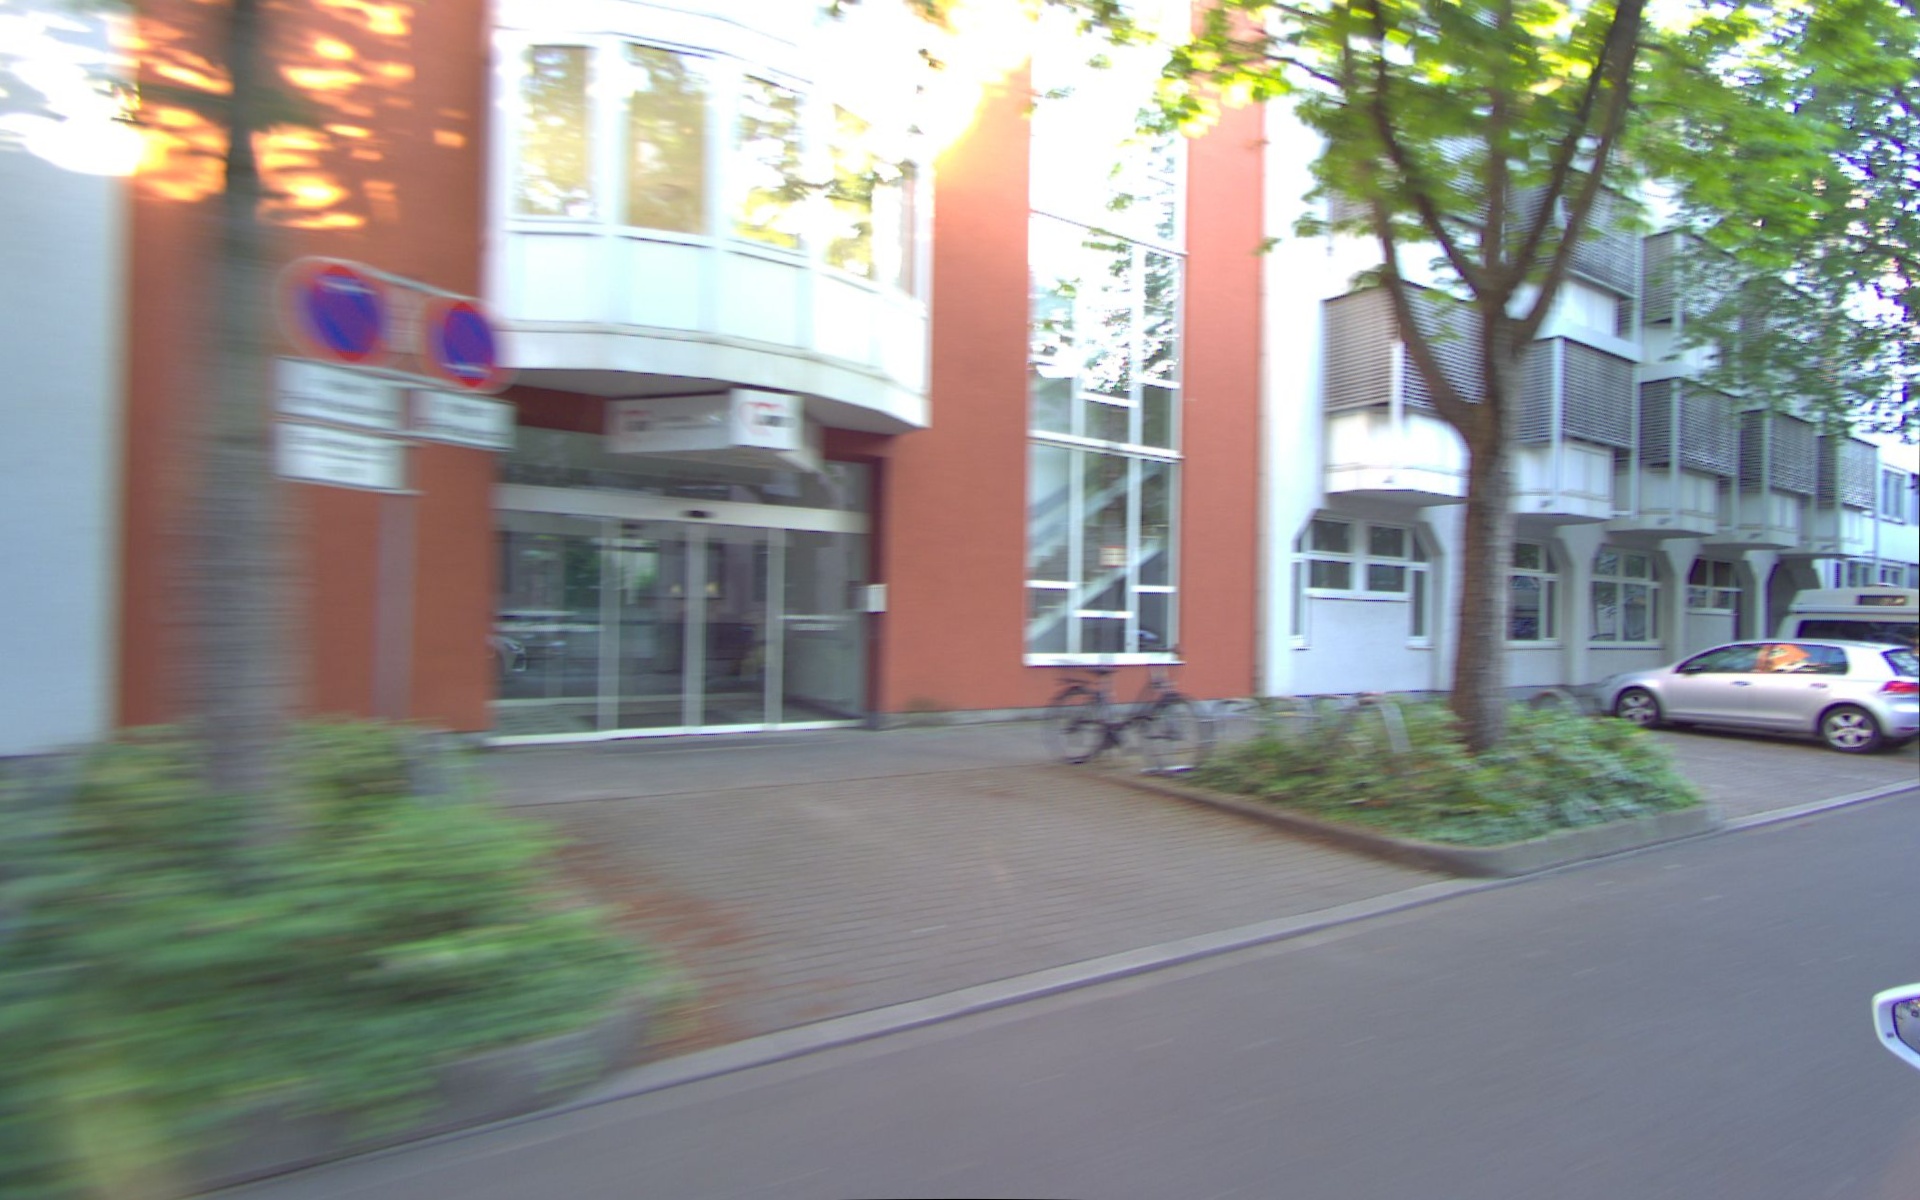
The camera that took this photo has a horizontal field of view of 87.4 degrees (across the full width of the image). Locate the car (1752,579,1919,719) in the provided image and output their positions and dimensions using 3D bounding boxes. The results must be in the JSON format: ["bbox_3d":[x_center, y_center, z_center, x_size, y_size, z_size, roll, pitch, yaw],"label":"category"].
[{"bbox_3d":[18.727,0.940,19.409,2.098,2.607,4.974,1,-1,-33],"label":"car"}]

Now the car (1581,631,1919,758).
[{"bbox_3d":[11.906,1.278,14.936,1.931,1.488,4.145,2,-1,-32],"label":"car"}]

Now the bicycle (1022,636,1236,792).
[{"bbox_3d":[1.460,0.950,9.022,0.650,1.192,1.942,2,-1,-39],"label":"bicycle"}]
